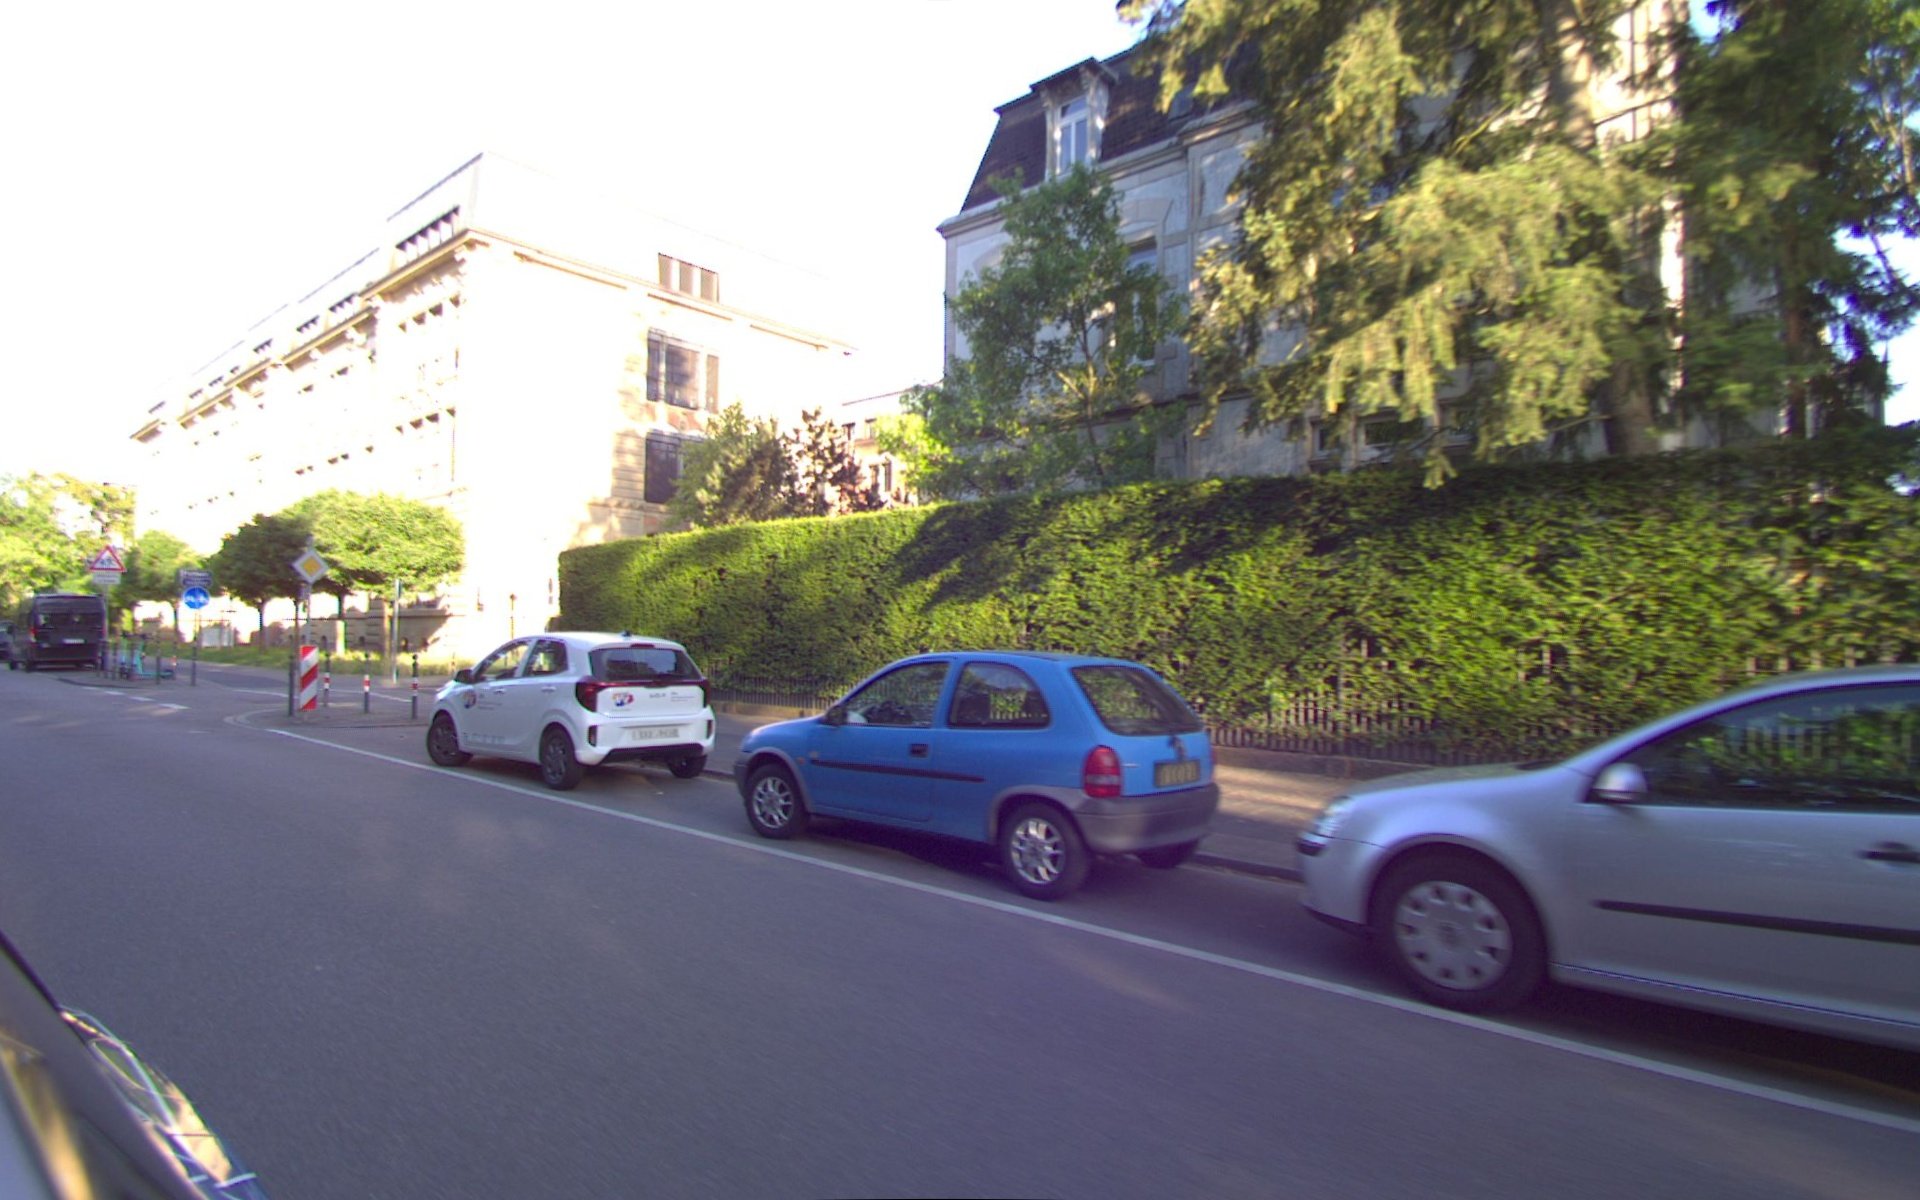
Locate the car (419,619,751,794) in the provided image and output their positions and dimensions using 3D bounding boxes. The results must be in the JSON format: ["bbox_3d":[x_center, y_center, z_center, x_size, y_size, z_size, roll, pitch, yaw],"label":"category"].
[{"bbox_3d":[-4.055,1.010,10.706,3.708,1.527,1.597,-1,-4,40],"label":"car"}]

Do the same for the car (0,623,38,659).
[{"bbox_3d":[-40.767,1.724,43.262,3.854,1.481,1.678,-1,-1,43],"label":"car"}]

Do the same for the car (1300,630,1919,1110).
[{"bbox_3d":[3.544,0.884,3.766,4.034,1.478,1.596,-1,-3,42],"label":"car"}]

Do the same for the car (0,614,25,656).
[{"bbox_3d":[-45.147,1.631,47.249,4.330,1.880,1.759,-2,-1,42],"label":"car"}]

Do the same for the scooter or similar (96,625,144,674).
[{"bbox_3d":[-23.065,1.348,27.817,0.425,1.284,1.347,1,-2,-14],"label":"scooter or similar"}]

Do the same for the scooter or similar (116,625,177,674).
[{"bbox_3d":[-22.016,1.330,27.417,0.426,1.284,1.341,0,-2,6],"label":"scooter or similar"}]

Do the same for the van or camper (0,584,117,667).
[{"bbox_3d":[-30.815,0.828,34.398,7.075,2.564,2.206,-1,-1,41],"label":"van or camper"}]

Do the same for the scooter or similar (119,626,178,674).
[{"bbox_3d":[-22.425,1.361,27.993,0.426,1.284,1.341,0,-2,6],"label":"scooter or similar"}]

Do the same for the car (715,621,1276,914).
[{"bbox_3d":[0.084,0.922,7.061,3.740,1.496,1.597,-1,-3,41],"label":"car"}]
